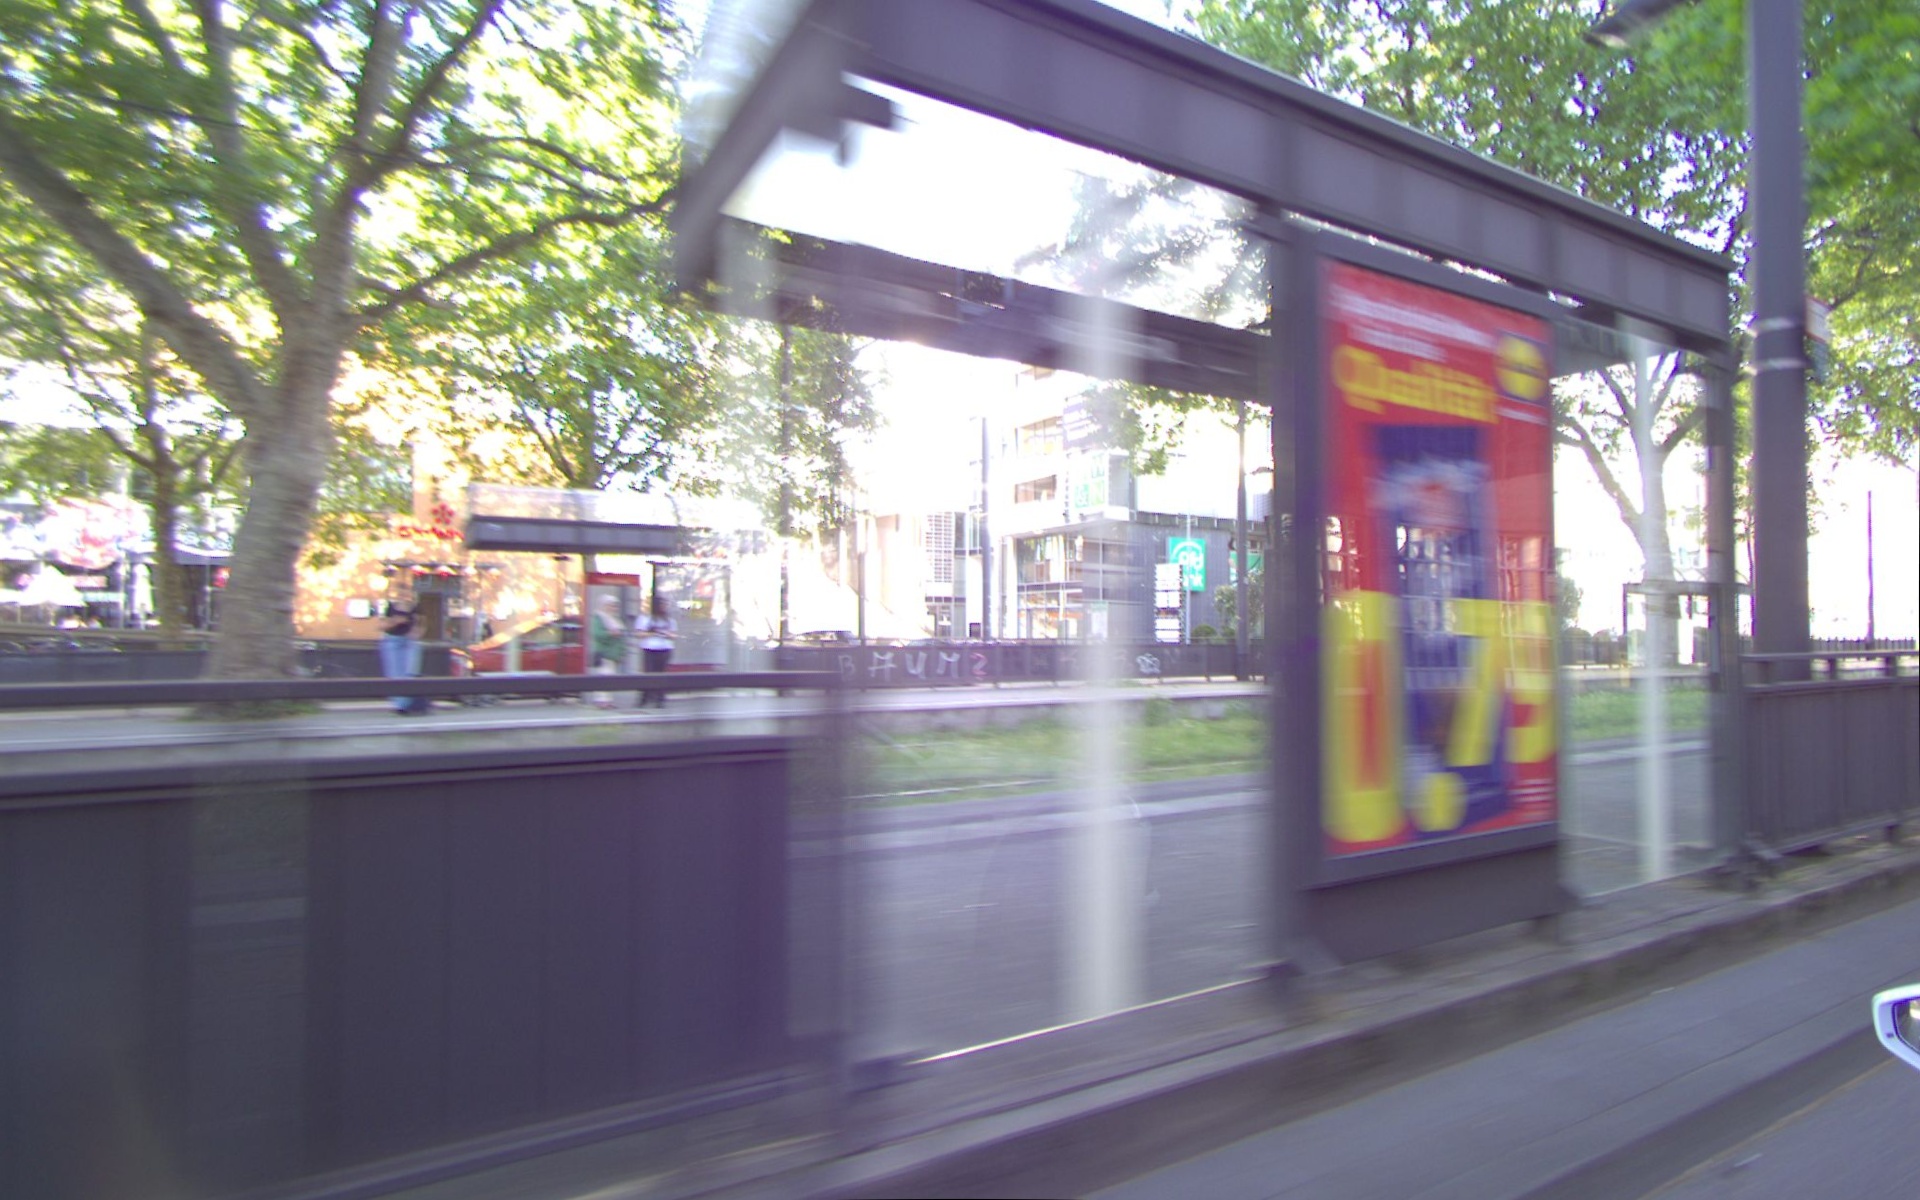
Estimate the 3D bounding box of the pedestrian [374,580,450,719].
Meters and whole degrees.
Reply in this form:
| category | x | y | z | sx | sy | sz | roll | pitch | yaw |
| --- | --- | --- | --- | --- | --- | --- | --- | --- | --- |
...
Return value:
| category | x | y | z | sx | sy | sz | roll | pitch | yaw |
| --- | --- | --- | --- | --- | --- | --- | --- | --- | --- |
| pedestrian | -6.794 | 0.603 | 12.462 | 0.664 | 1.663 | 0.660 | 2 | -2 | -42 |

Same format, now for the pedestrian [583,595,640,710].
| category | x | y | z | sx | sy | sz | roll | pitch | yaw |
| --- | --- | --- | --- | --- | --- | --- | --- | --- | --- |
| pedestrian | -4.717 | 0.703 | 13.604 | 0.547 | 1.517 | 0.547 | 1 | -1 | -42 |

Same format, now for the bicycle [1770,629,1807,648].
| category | x | y | z | sx | sy | sz | roll | pitch | yaw |
| --- | --- | --- | --- | --- | --- | --- | --- | --- | --- |
| bicycle | 44.933 | 2.072 | 54.476 | 2.558 | 1.010 | 0.796 | 1 | 0 | -33 |

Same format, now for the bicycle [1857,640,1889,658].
| category | x | y | z | sx | sy | sz | roll | pitch | yaw |
| --- | --- | --- | --- | --- | --- | --- | --- | --- | --- |
| bicycle | 54.387 | 2.905 | 59.847 | 2.558 | 1.010 | 0.796 | 1 | 0 | -33 |

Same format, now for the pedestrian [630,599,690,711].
| category | x | y | z | sx | sy | sz | roll | pitch | yaw |
| --- | --- | --- | --- | --- | --- | --- | --- | --- | --- |
| pedestrian | -4.167 | 0.751 | 13.961 | 0.603 | 1.505 | 0.564 | 1 | -1 | -42 |

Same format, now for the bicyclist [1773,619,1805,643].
| category | x | y | z | sx | sy | sz | roll | pitch | yaw |
| --- | --- | --- | --- | --- | --- | --- | --- | --- | --- |
| bicyclist | 44.999 | 1.664 | 54.527 | 1.359 | 1.267 | 0.998 | 1 | 0 | -33 |

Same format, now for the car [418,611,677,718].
| category | x | y | z | sx | sy | sz | roll | pitch | yaw |
| --- | --- | --- | --- | --- | --- | --- | --- | --- | --- |
| car | -7.145 | 1.083 | 17.438 | 3.952 | 1.661 | 1.985 | 1 | -3 | -29 |

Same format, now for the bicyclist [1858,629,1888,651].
| category | x | y | z | sx | sy | sz | roll | pitch | yaw |
| --- | --- | --- | --- | --- | --- | --- | --- | --- | --- |
| bicyclist | 54.358 | 2.385 | 59.801 | 1.359 | 1.267 | 0.998 | 1 | 0 | -33 |

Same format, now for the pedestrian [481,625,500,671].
| category | x | y | z | sx | sy | sz | roll | pitch | yaw |
| --- | --- | --- | --- | --- | --- | --- | --- | --- | --- |
| pedestrian | -16.855 | 1.708 | 36.067 | 0.572 | 1.625 | 0.576 | 1 | -1 | -25 |

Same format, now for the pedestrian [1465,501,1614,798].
| category | x | y | z | sx | sy | sz | roll | pitch | yaw |
| --- | --- | --- | --- | --- | --- | --- | --- | --- | --- |
| pedestrian | 3.885 | 0.321 | 6.747 | 0.631 | 1.864 | 0.643 | 1 | -1 | -31 |
